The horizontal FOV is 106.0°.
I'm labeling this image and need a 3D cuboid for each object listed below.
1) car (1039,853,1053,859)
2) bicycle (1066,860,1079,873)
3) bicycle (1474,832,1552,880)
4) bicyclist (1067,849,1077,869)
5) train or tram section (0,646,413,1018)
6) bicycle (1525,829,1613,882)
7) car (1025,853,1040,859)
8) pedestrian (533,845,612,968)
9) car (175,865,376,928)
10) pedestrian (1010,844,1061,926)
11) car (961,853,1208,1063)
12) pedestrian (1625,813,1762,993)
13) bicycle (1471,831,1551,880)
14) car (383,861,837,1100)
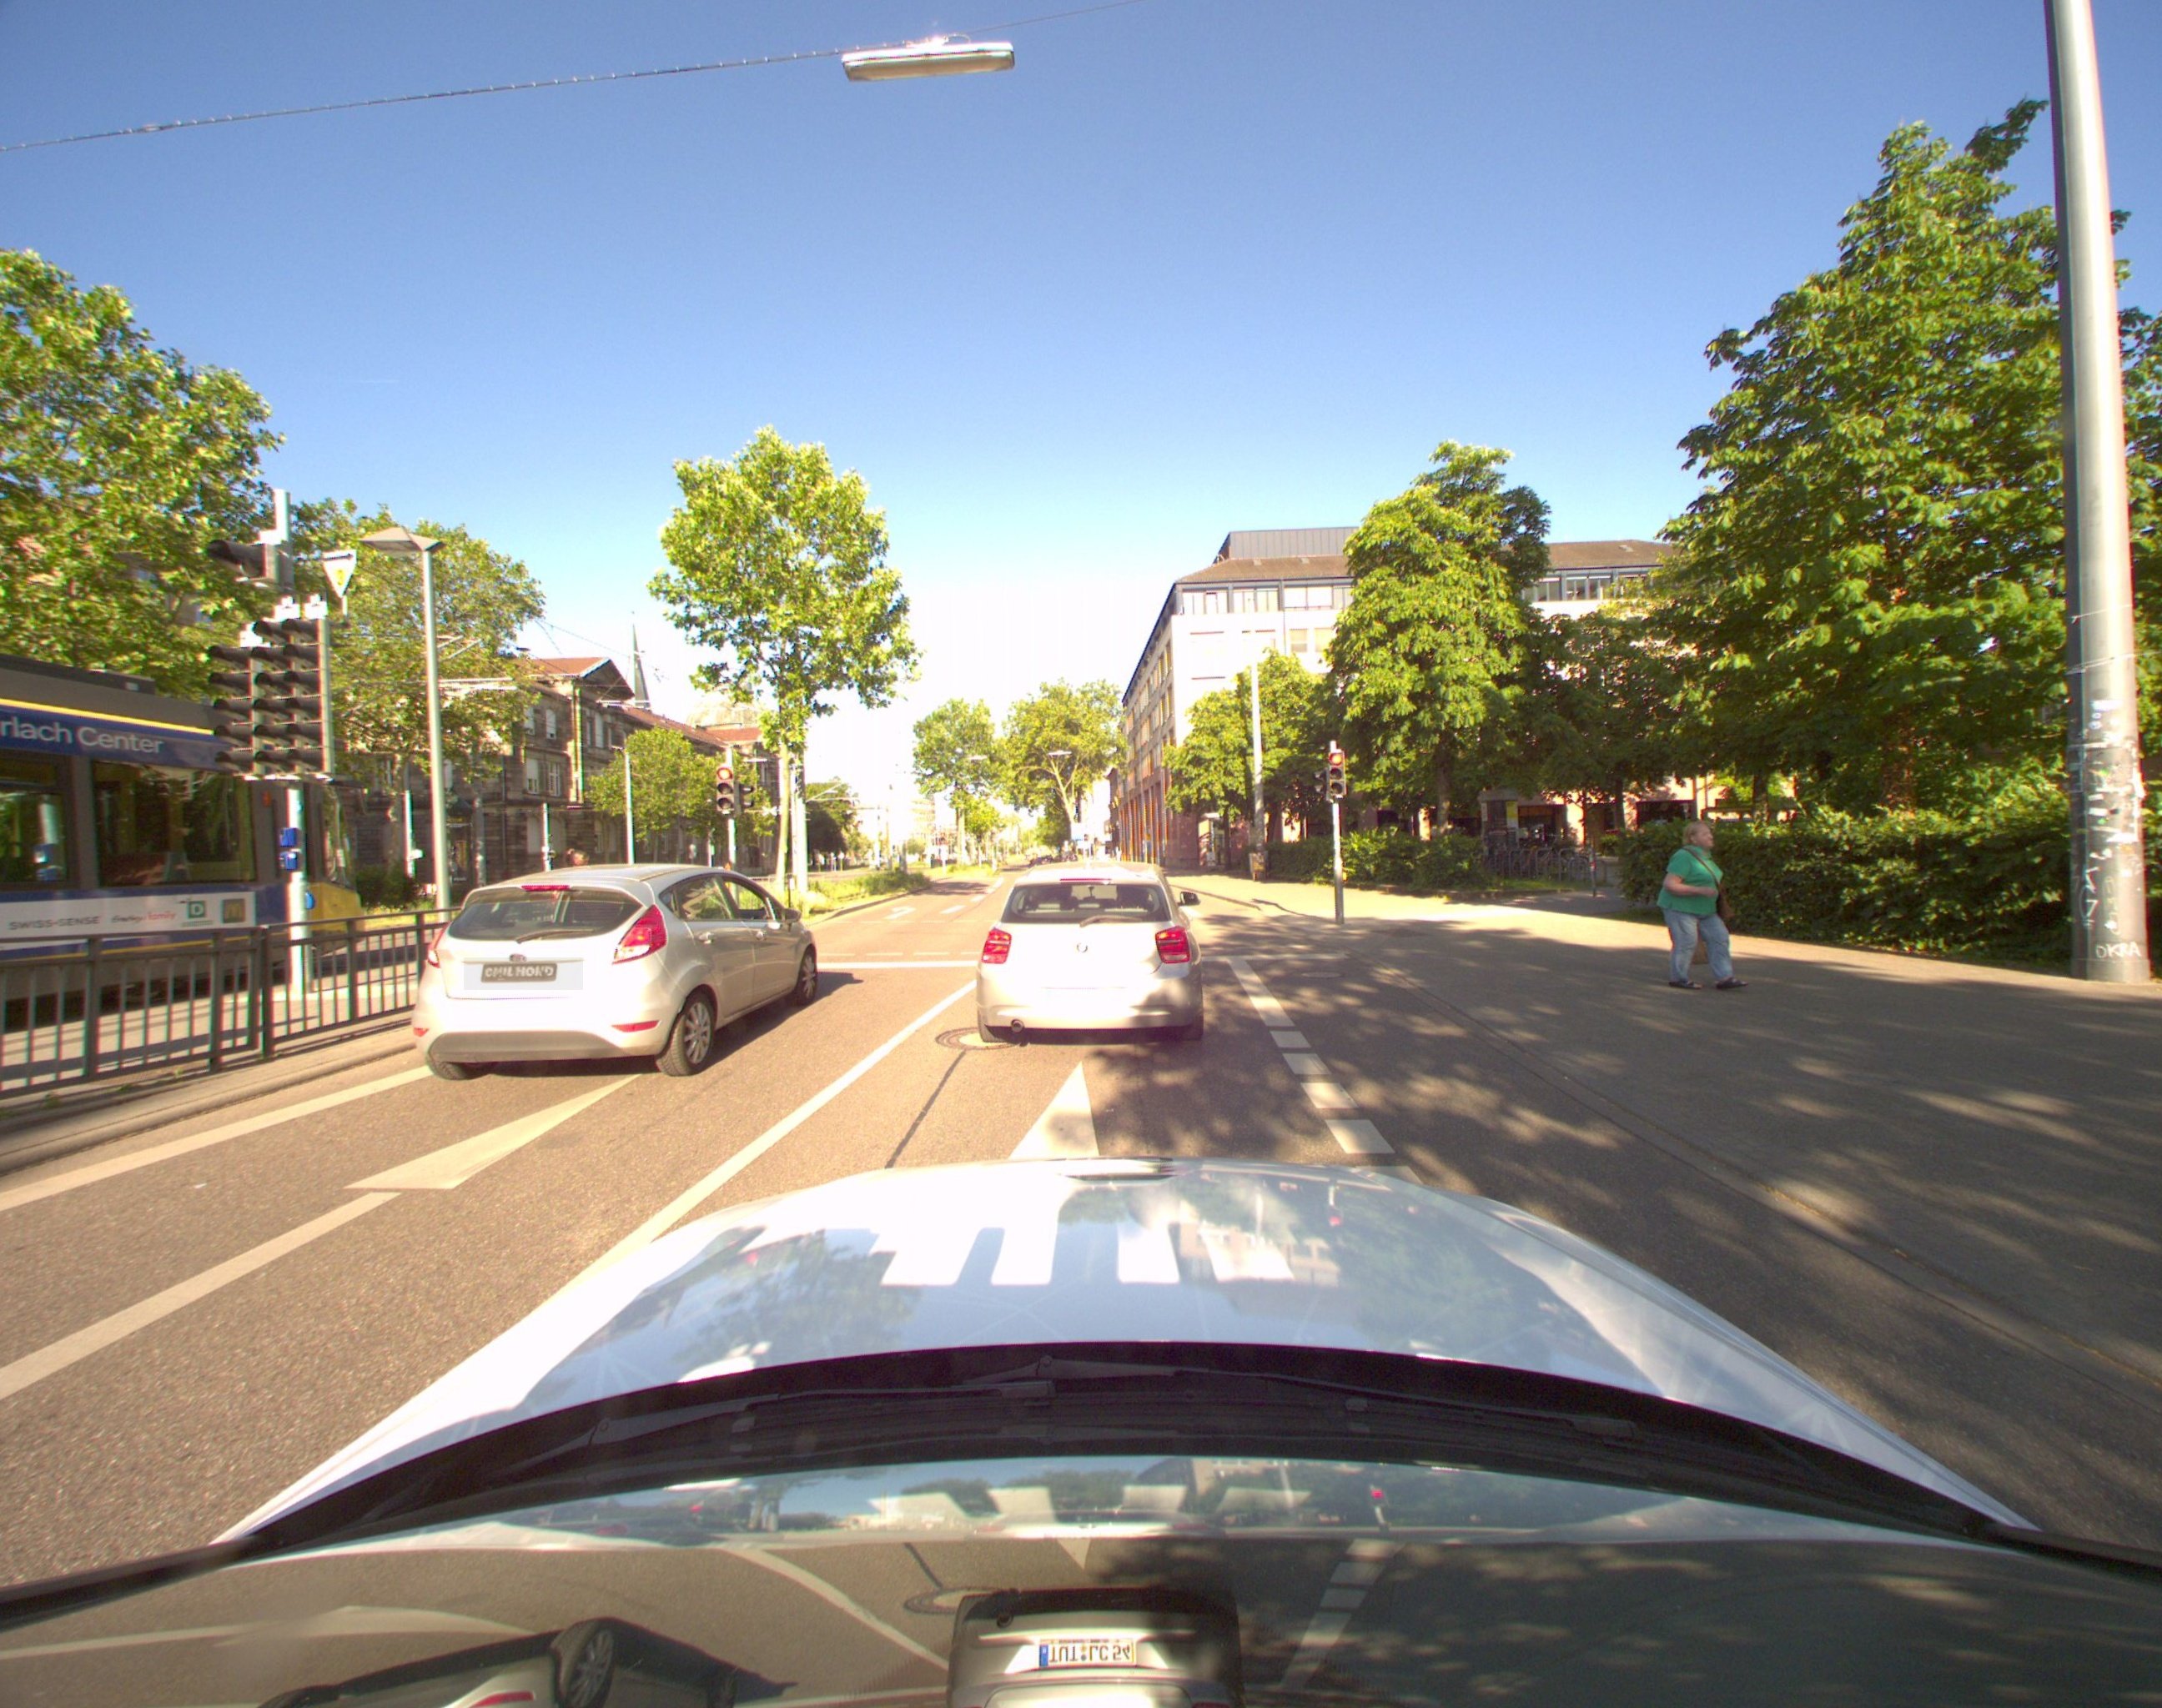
[{"bbox_3d":[-8.756,0.503,202.727,2.004,1.486,3.965,-2,0,-26],"label":"car"},{"bbox_3d":[-0.736,1.038,69.280,0.827,1.041,1.878,-3,0,7],"label":"bicycle"},{"bbox_3d":[13.058,0.049,24.632,1.989,1.314,0.574,-3,0,0],"label":"bicycle"},{"bbox_3d":[-0.763,0.387,69.369,0.655,1.657,0.766,-3,0,7],"label":"bicyclist"},{"bbox_3d":[-10.836,-0.223,5.180,2.908,3.260,13.097,0,-1,-3],"label":"train or tram section"},{"bbox_3d":[13.215,0.041,22.086,1.989,1.314,0.574,-3,0,0],"label":"bicycle"},{"bbox_3d":[-13.094,0.456,219.654,2.010,1.486,3.954,-2,0,-38],"label":"car"},{"bbox_3d":[-6.755,0.677,10.849,0.630,1.557,0.645,-2,0,-7],"label":"pedestrian"},{"bbox_3d":[-24.187,1.212,24.695,1.986,1.625,4.002,-2,0,2],"label":"car"},{"bbox_3d":[-0.933,0.617,16.672,0.941,1.629,0.626,-1,0,-12],"label":"pedestrian"},{"bbox_3d":[0.192,0.727,7.618,1.722,1.390,3.845,0,1,5],"label":"car"},{"bbox_3d":[5.785,0.433,7.701,0.743,1.575,0.822,-2,-1,-41],"label":"pedestrian"},{"bbox_3d":[12.667,0.039,24.017,1.989,1.314,0.574,-3,0,0],"label":"bicycle"},{"bbox_3d":[-3.398,0.780,6.756,1.655,1.409,3.631,-1,0,-1],"label":"car"}]
